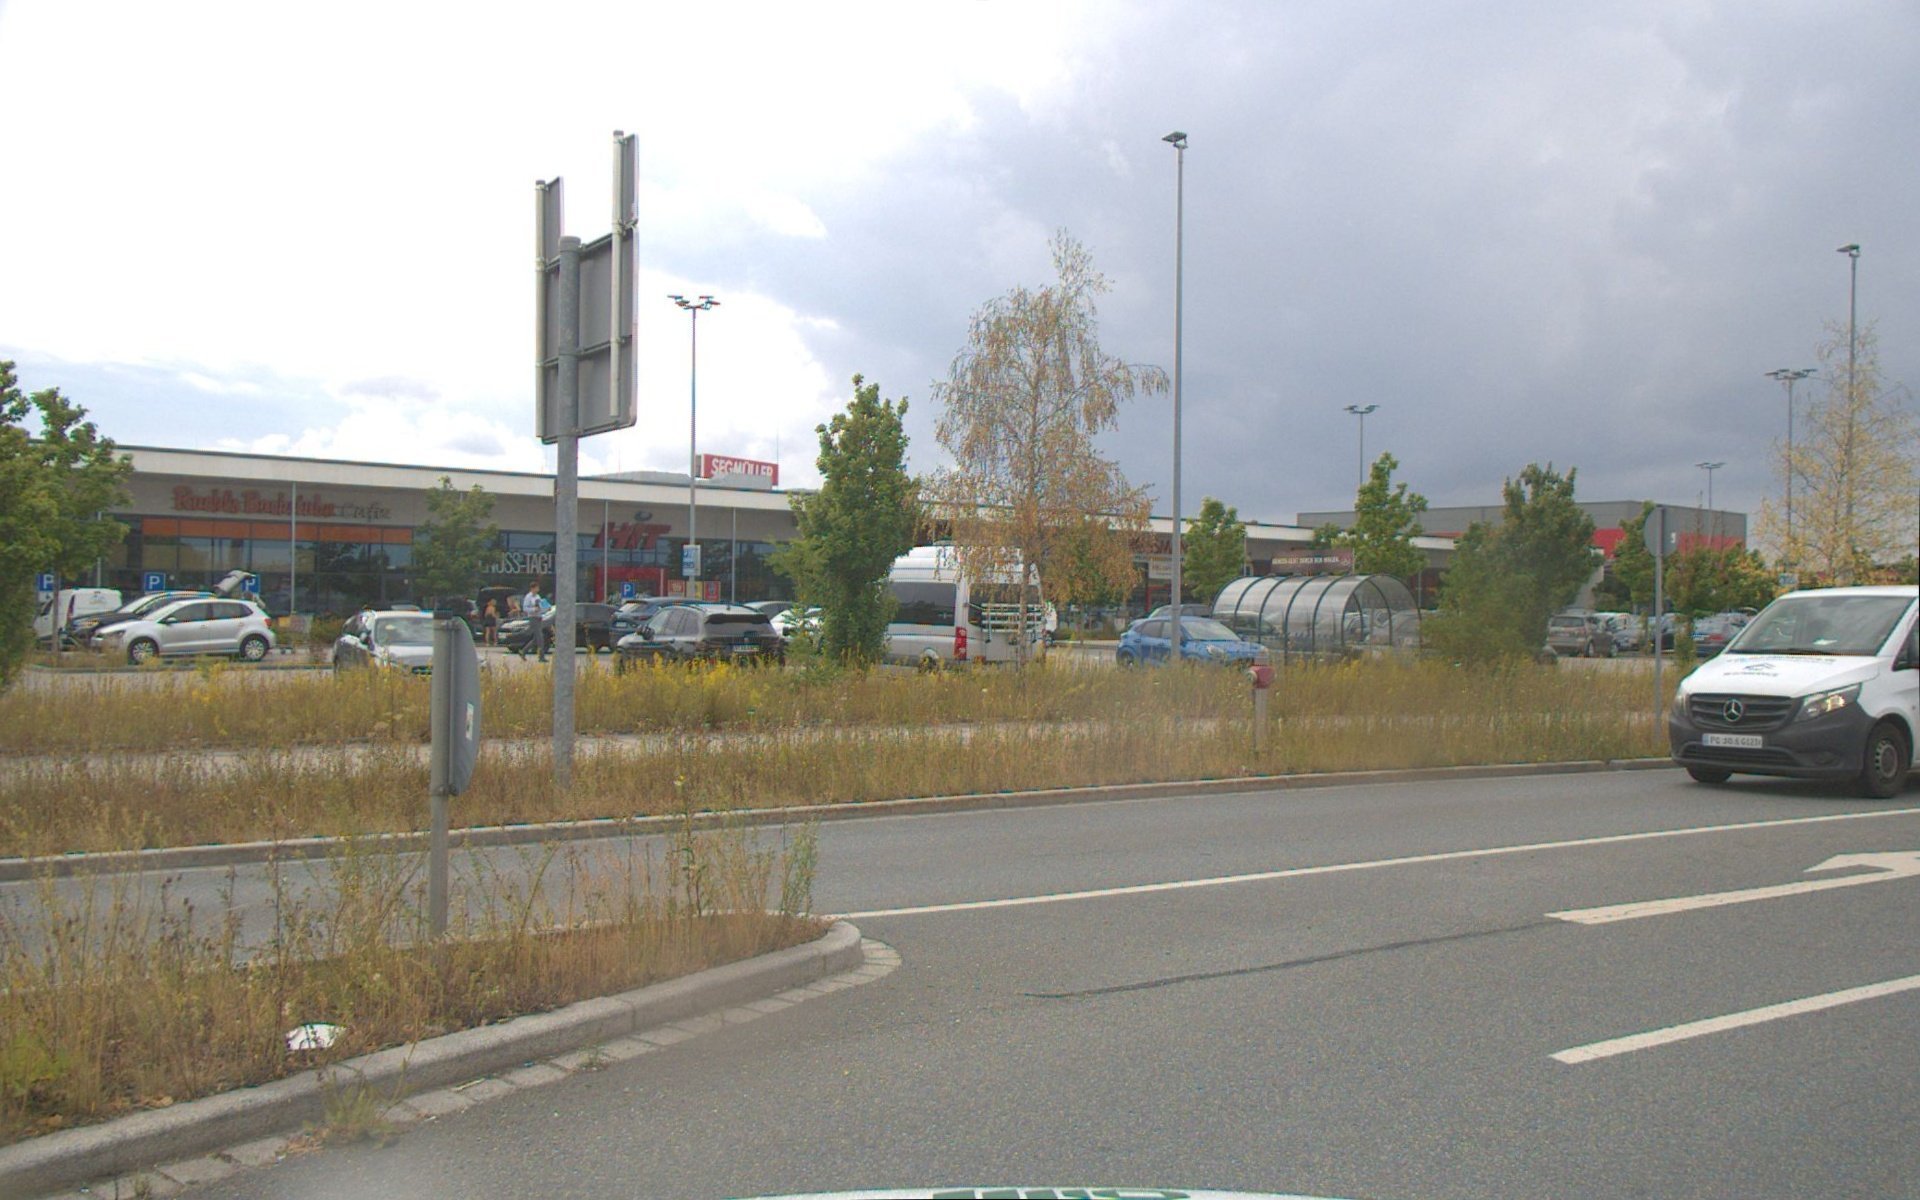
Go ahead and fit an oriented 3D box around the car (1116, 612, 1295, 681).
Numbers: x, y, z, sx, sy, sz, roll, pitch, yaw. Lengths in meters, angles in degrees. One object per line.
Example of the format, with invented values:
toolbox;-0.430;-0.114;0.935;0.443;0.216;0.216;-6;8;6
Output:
car;5.231;0.970;35.781;1.783;1.409;4.112;1;-1;-27

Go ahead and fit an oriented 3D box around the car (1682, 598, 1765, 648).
car;27.019;0.771;58.479;1.731;1.682;3.815;0;0;40

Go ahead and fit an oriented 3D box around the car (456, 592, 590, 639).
car;-14.811;0.506;56.139;3.962;1.534;1.972;1;0;-40

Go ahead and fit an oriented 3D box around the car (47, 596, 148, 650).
car;-25.673;0.652;49.170;1.980;1.534;3.945;0;0;-38

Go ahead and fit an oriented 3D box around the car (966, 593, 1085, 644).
car;2.467;0.705;61.506;4.393;1.851;1.968;1;-1;-44

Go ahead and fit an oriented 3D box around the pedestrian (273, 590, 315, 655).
pedestrian;-17.193;0.589;42.718;0.815;1.660;0.888;1;-1;-36

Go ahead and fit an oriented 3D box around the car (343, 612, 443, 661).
car;-18.973;1.194;55.230;1.980;1.534;3.945;1;0;-38

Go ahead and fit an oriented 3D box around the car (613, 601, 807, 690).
car;-4.561;0.784;29.700;1.970;1.476;4.103;1;-1;-32

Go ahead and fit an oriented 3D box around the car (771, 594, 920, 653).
car;-3.346;0.670;48.660;3.949;1.646;1.978;0;0;-33

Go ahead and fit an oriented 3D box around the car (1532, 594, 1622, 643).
car;23.494;0.668;62.892;1.964;1.764;3.977;0;0;41

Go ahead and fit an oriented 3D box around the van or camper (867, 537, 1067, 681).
van or camper;0.063;0.193;31.452;2.256;2.536;3.965;1;-1;-27

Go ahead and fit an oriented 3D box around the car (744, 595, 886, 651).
car;-4.471;0.694;51.051;3.949;1.646;1.978;0;0;-33

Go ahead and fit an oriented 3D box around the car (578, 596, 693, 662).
car;-8.797;0.737;44.661;1.797;1.682;3.956;0;0;-32

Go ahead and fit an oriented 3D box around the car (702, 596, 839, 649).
car;-6.103;0.711;53.265;3.949;1.646;1.978;0;0;-33

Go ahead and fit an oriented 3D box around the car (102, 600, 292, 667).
car;-17.797;0.750;38.654;3.725;1.479;1.643;1;0;-41

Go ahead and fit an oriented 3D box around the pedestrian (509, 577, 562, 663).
pedestrian;-10.177;0.473;39.634;0.991;2.049;0.858;1;0;-33

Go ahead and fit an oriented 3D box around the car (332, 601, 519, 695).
car;-8.845;0.752;27.152;1.970;1.409;4.103;1;-1;-32

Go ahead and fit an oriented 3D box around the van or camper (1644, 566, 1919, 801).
van or camper;9.088;0.699;15.883;5.131;1.945;1.980;0;0;-30

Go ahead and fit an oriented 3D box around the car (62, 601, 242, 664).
car;-19.874;0.779;40.752;3.725;1.479;1.643;1;0;-41
